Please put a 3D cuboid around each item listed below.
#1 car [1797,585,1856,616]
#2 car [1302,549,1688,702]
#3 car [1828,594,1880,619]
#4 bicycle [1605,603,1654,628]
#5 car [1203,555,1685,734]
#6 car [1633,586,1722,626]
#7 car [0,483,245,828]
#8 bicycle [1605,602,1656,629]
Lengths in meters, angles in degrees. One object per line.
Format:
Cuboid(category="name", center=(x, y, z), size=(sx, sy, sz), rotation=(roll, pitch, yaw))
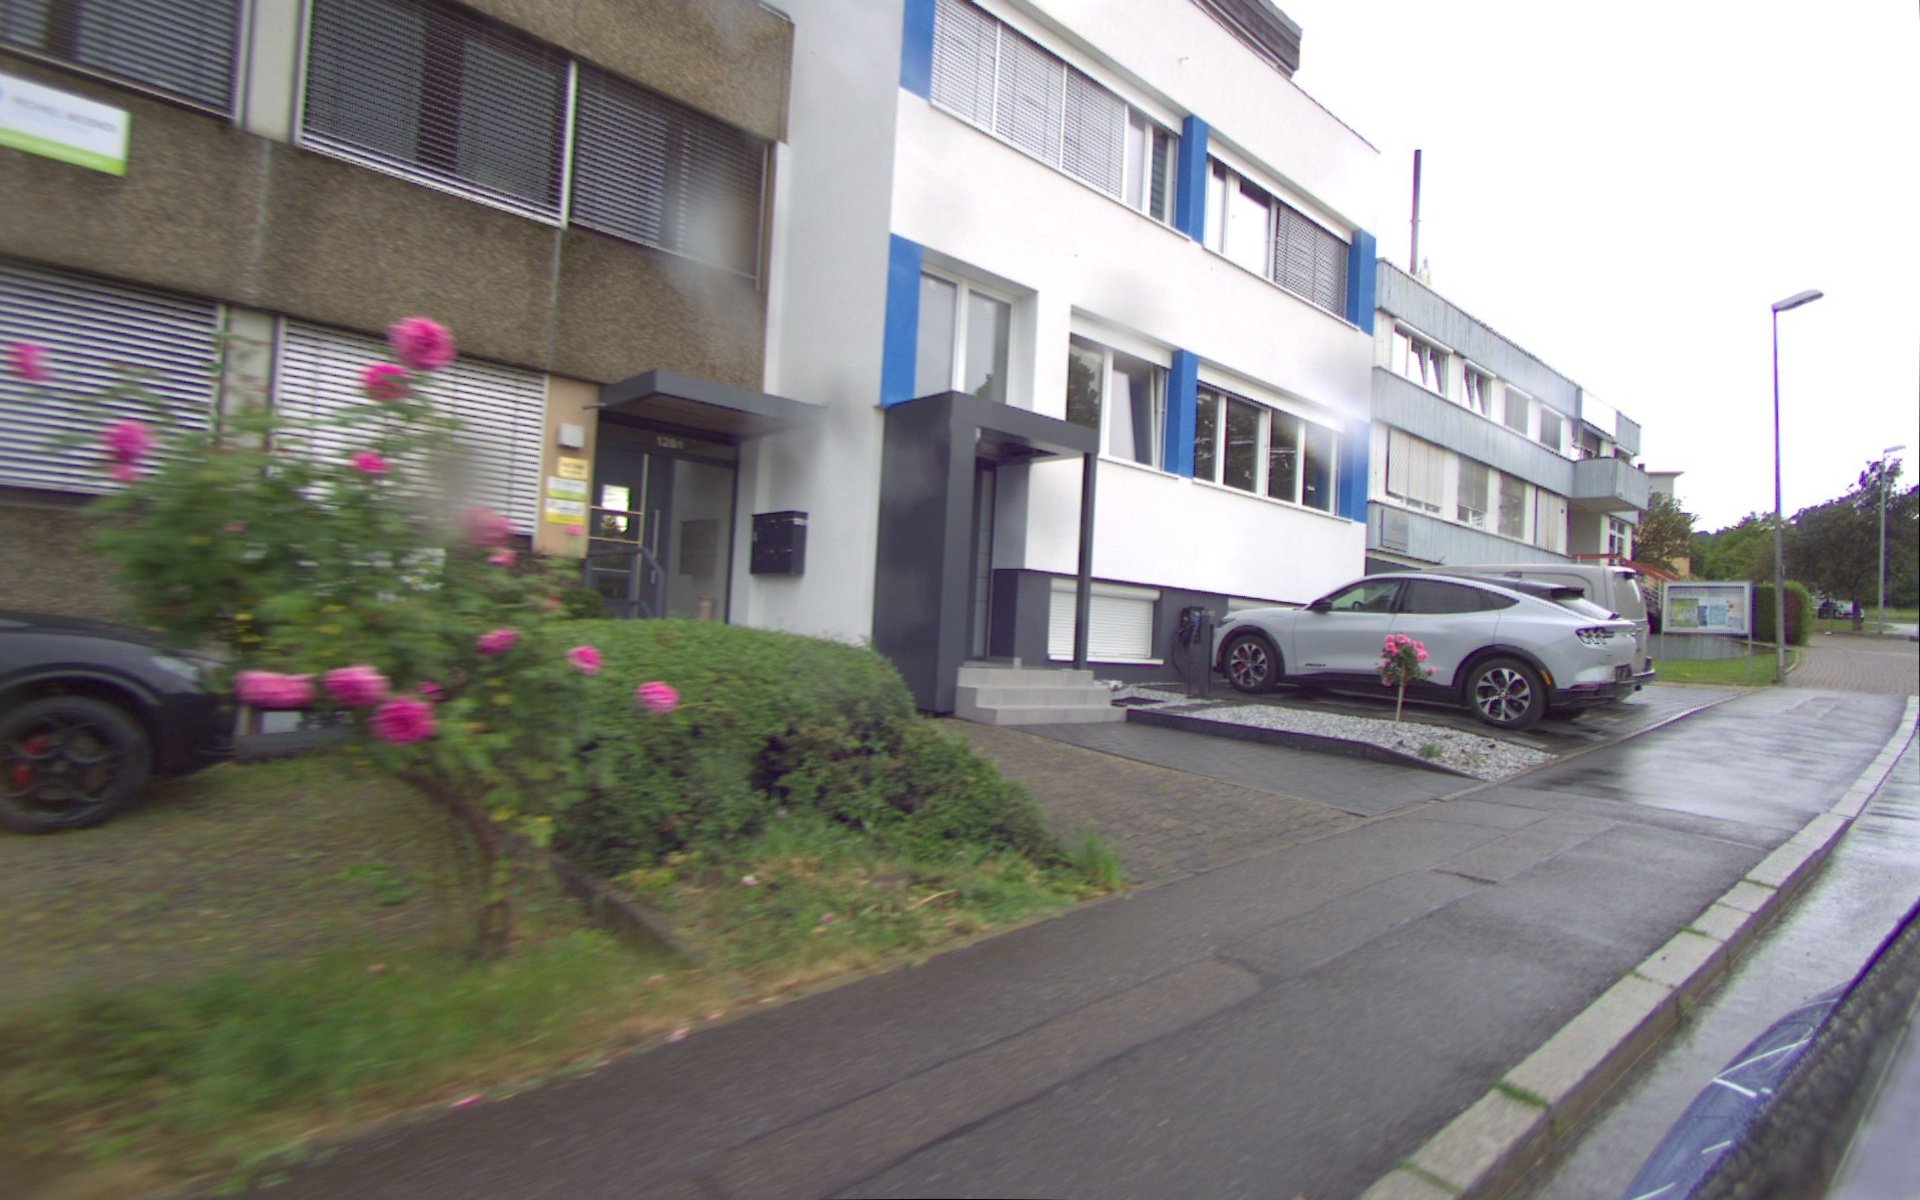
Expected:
Cuboid(category="car", center=(70.297, 0.031, 82.232), size=(2.031, 2.360, 5.366), rotation=(1, 1, 23))
Cuboid(category="car", center=(7.331, 0.224, 14.182), size=(2.054, 1.795, 4.346), rotation=(0, 2, -43))
Cuboid(category="car", center=(67.785, 0.456, 76.811), size=(1.800, 1.748, 4.608), rotation=(1, 2, 27))
Cuboid(category="bicycle", center=(23.726, 0.561, 35.886), size=(1.406, 0.840, 0.283), rotation=(1, 1, 25))
Cuboid(category="car", center=(5.385, 0.342, 11.789), size=(2.043, 1.557, 4.605), rotation=(0, 3, -42))
Cuboid(category="car", center=(34.058, 0.248, 48.159), size=(1.830, 1.603, 4.314), rotation=(1, 4, 12))
Cuboid(category="car", center=(-6.367, 0.273, 5.070), size=(4.397, 1.771, 1.751), rotation=(-1, 2, -42))
Cuboid(category="bicycle", center=(23.598, 0.530, 35.617), size=(1.456, 0.913, 0.283), rotation=(1, 1, 25))
